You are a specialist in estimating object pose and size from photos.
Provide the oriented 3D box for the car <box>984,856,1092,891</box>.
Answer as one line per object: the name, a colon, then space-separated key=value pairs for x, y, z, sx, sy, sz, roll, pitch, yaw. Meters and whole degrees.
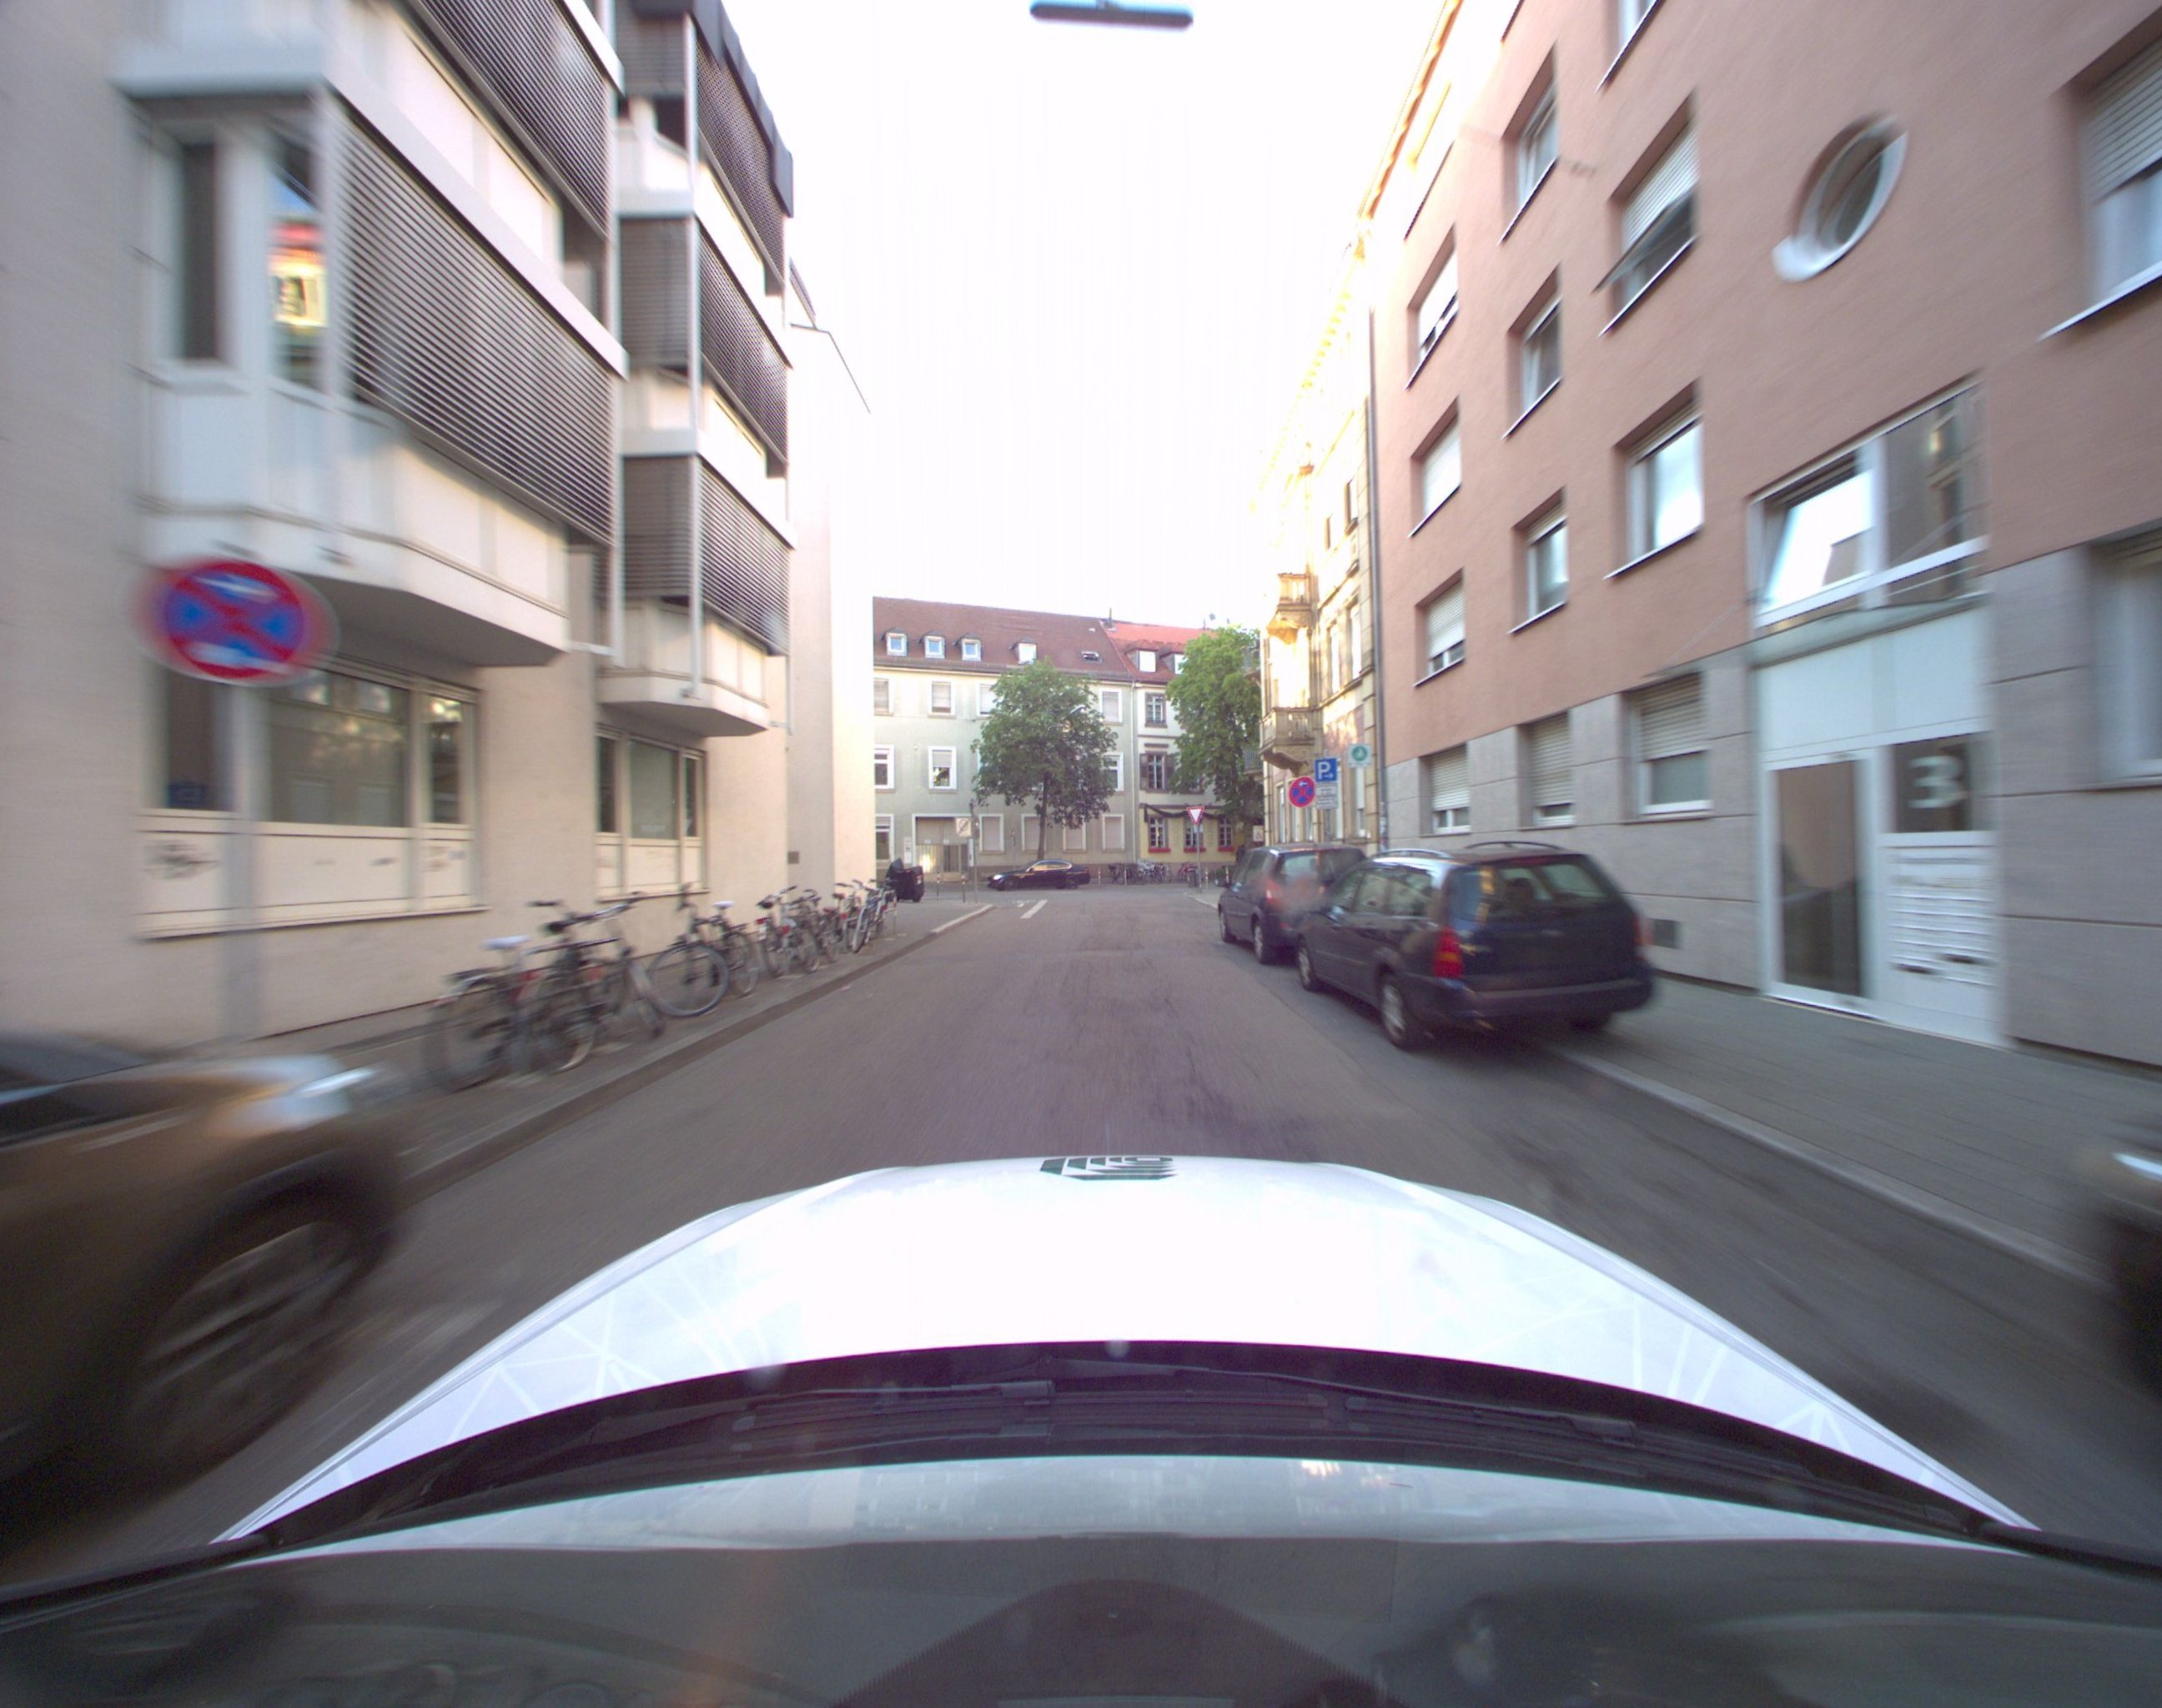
car: x=-2.006 y=0.902 z=37.967 sx=4.668 sy=1.450 sz=1.756 roll=-1 pitch=0 yaw=-20

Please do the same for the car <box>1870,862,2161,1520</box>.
car: x=3.225 y=0.753 z=0.421 sx=1.683 sy=1.458 sz=4.133 roll=-1 pitch=0 yaw=1

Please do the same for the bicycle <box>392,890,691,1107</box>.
bicycle: x=-3.743 y=0.905 z=5.959 sx=0.593 sy=1.187 sz=2.267 roll=-1 pitch=0 yaw=2

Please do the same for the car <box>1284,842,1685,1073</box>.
car: x=3.226 y=0.695 z=7.586 sx=1.683 sy=1.514 sz=4.284 roll=-1 pitch=0 yaw=1

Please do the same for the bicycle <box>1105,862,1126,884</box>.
bicycle: x=1.879 y=1.045 z=44.859 sx=0.446 sy=1.145 sz=2.030 roll=-1 pitch=0 yaw=-17

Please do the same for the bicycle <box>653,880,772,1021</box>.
bicycle: x=-3.699 y=0.911 z=8.318 sx=0.305 sy=1.222 sz=1.814 roll=-1 pitch=0 yaw=2

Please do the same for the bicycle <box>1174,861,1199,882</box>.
bicycle: x=5.860 y=0.979 z=45.436 sx=0.421 sy=1.145 sz=2.027 roll=-1 pitch=0 yaw=-21

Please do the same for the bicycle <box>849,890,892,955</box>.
bicycle: x=-3.477 y=1.107 z=13.552 sx=0.306 sy=0.932 sz=1.811 roll=-1 pitch=0 yaw=-2

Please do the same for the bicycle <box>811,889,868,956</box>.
bicycle: x=-3.844 y=1.062 z=13.072 sx=0.305 sy=0.932 sz=1.814 roll=-1 pitch=0 yaw=2

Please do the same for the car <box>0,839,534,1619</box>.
car: x=-3.089 y=0.775 z=1.213 sx=1.785 sy=1.576 sz=4.069 roll=-1 pitch=0 yaw=0

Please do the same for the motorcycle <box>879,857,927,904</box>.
motorcycle: x=-6.175 y=0.909 z=28.175 sx=0.673 sy=1.555 sz=2.136 roll=-1 pitch=-1 yaw=-41

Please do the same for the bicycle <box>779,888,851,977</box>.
bicycle: x=-3.584 y=1.019 z=11.084 sx=0.305 sy=1.042 sz=1.814 roll=-1 pitch=0 yaw=2

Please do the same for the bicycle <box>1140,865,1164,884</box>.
bicycle: x=3.877 y=1.111 z=44.348 sx=0.421 sy=1.004 sz=2.027 roll=-1 pitch=0 yaw=-21

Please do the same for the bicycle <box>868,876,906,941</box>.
bicycle: x=-3.657 y=0.995 z=15.435 sx=0.399 sy=1.102 sz=1.810 roll=-1 pitch=0 yaw=-5

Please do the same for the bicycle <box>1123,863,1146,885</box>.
bicycle: x=2.952 y=1.098 z=45.137 sx=0.421 sy=1.145 sz=2.027 roll=-1 pitch=0 yaw=-21

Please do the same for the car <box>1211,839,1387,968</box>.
car: x=3.137 y=0.641 z=12.521 sx=1.683 sy=1.625 sz=4.055 roll=-1 pitch=0 yaw=1

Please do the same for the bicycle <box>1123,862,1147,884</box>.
bicycle: x=2.876 y=1.008 z=43.409 sx=0.446 sy=1.145 sz=2.028 roll=-1 pitch=0 yaw=-20

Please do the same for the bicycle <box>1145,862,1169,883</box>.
bicycle: x=4.237 y=1.026 z=45.375 sx=0.421 sy=1.145 sz=2.027 roll=-1 pitch=0 yaw=-21

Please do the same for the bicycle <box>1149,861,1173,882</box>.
bicycle: x=4.507 y=1.003 z=46.026 sx=0.421 sy=1.145 sz=2.027 roll=-1 pitch=0 yaw=-21

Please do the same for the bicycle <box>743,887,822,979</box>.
bicycle: x=-3.910 y=0.998 z=10.794 sx=0.305 sy=1.042 sz=1.814 roll=-1 pitch=0 yaw=2
